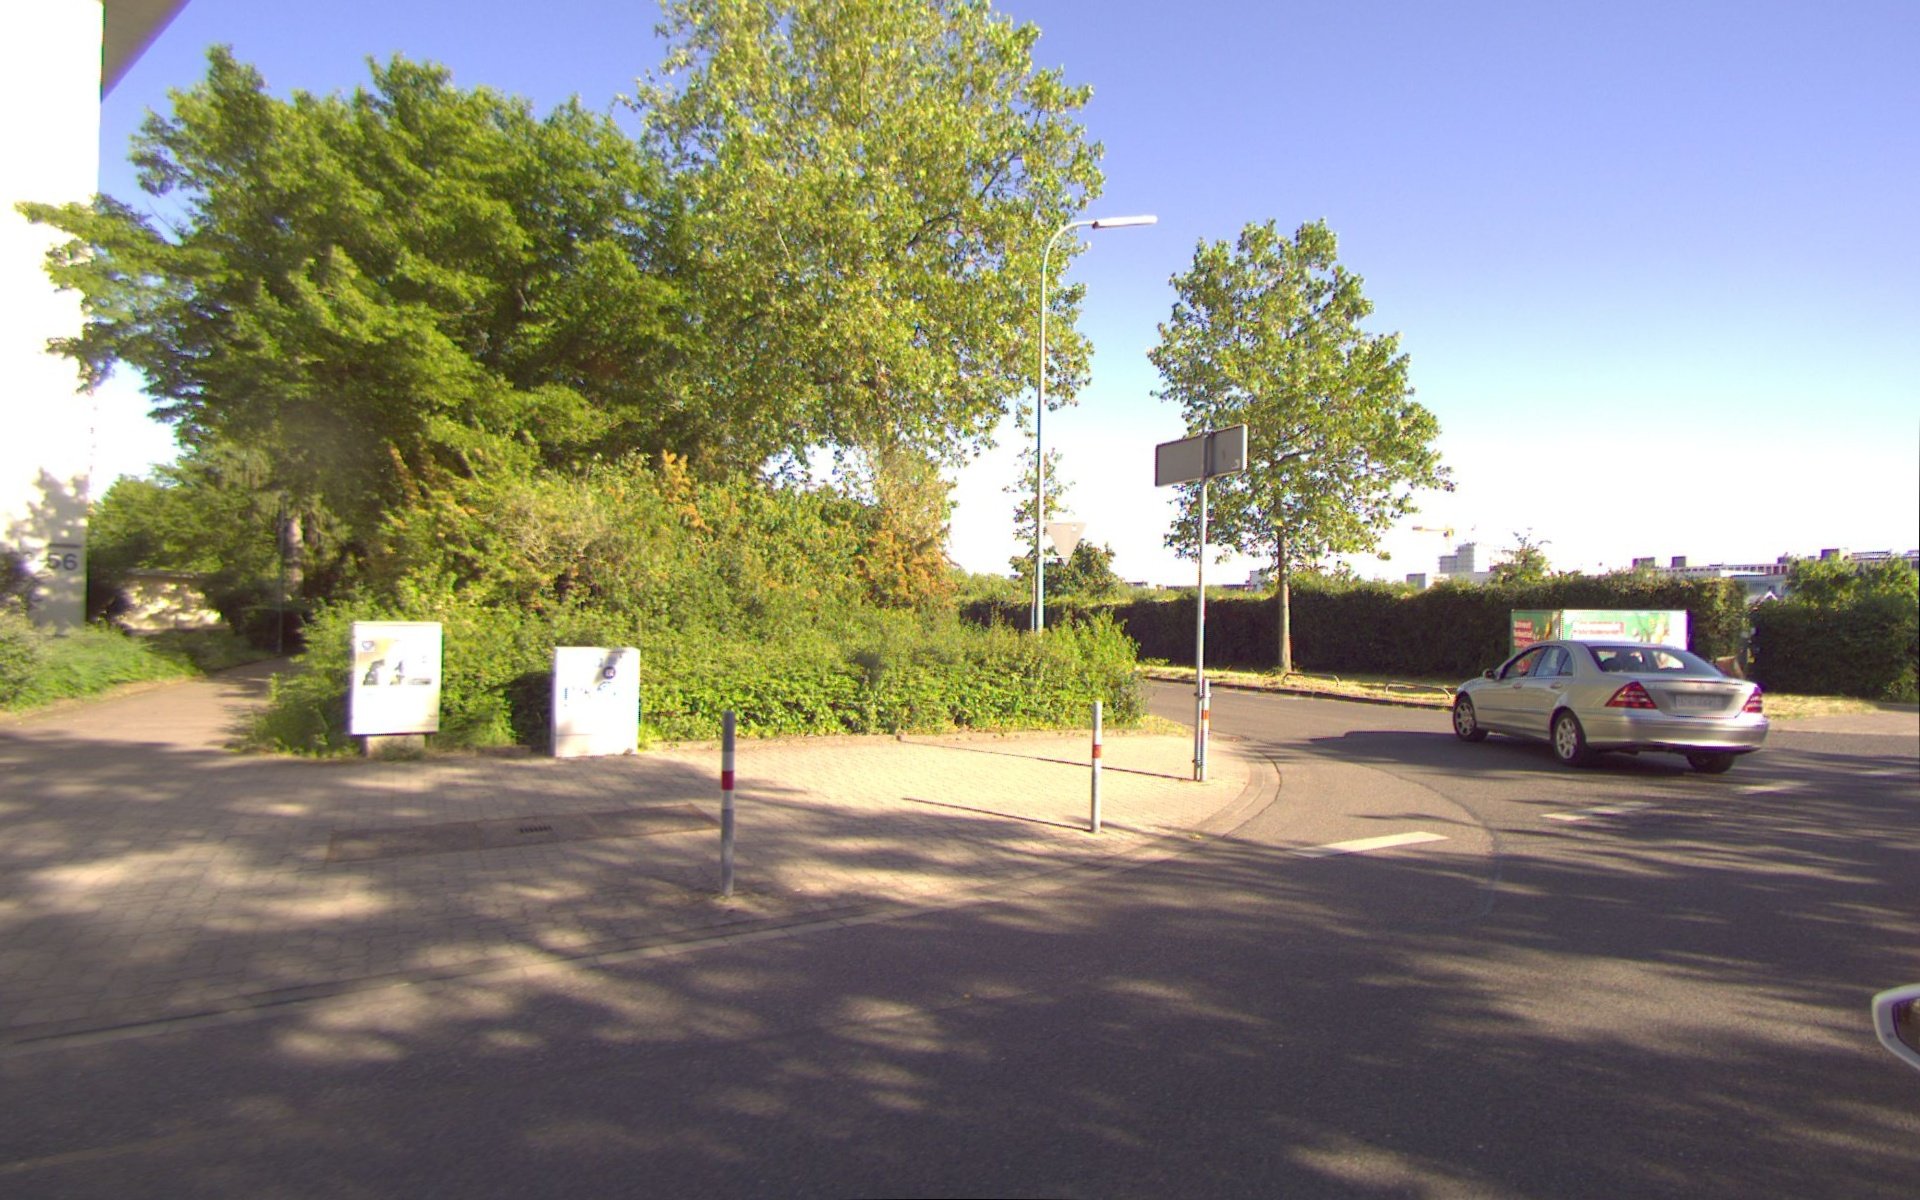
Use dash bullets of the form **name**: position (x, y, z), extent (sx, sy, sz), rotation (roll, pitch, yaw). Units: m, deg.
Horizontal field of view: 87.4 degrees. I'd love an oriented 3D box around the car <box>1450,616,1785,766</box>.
- **car**: position (7.679, 0.961, 12.261), extent (1.708, 1.472, 4.002), rotation (1, -1, 5)
